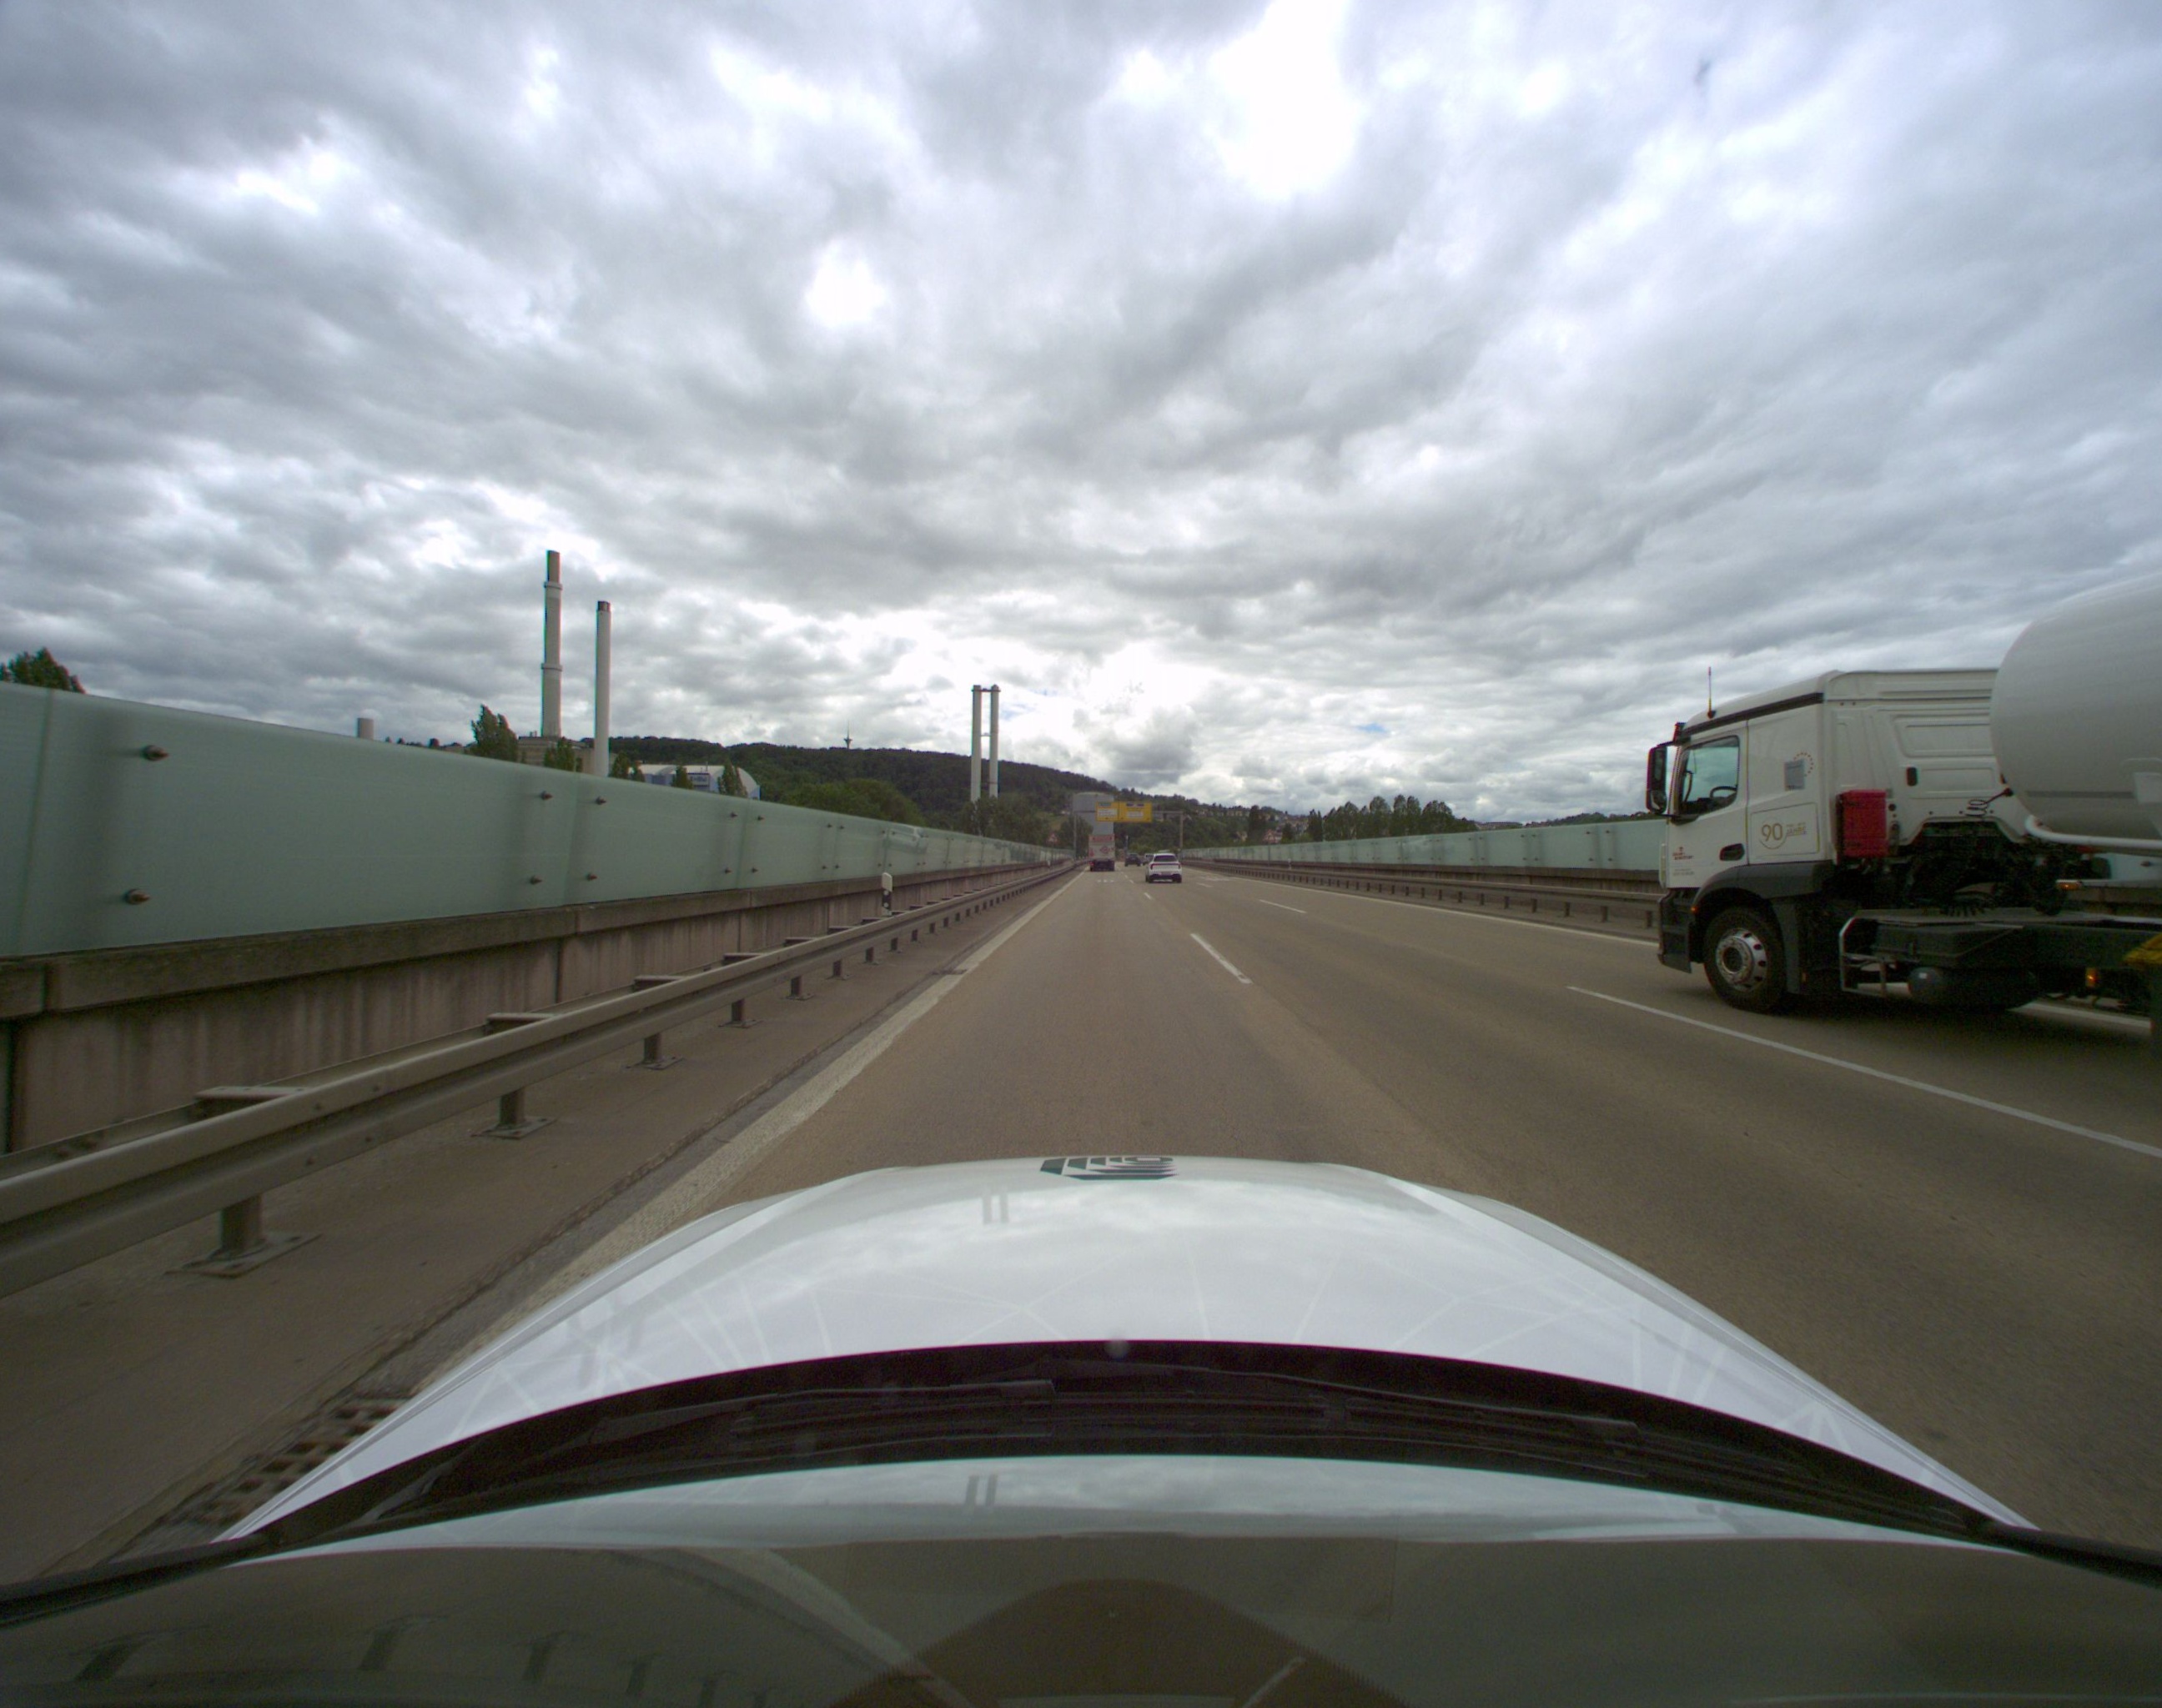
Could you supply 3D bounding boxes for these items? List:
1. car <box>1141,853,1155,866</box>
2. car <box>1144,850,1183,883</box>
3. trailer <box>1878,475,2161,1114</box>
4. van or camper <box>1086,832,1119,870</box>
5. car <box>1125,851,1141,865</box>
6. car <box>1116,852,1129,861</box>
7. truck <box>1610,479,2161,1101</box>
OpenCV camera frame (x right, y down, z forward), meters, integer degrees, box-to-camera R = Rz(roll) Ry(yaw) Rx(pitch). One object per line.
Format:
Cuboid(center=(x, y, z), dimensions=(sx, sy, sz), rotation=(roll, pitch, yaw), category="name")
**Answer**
Cuboid(center=(9.589, 0.795, 116.718), dimensions=(1.916, 1.785, 4.115), rotation=(0, 0, 2), category="car")
Cuboid(center=(4.688, 0.681, 46.669), dimensions=(1.916, 1.785, 4.115), rotation=(0, 0, 2), category="car")
Cuboid(center=(7.187, -0.358, 0.517), dimensions=(2.640, 3.543, 11.224), rotation=(-1, 0, 2), category="trailer")
Cuboid(center=(2.229, -0.239, 80.940), dimensions=(3.109, 3.579, 8.555), rotation=(-1, 0, 3), category="van or camper")
Cuboid(center=(6.558, 0.470, 103.812), dimensions=(1.916, 1.785, 4.115), rotation=(0, 0, 2), category="car")
Cuboid(center=(10.077, 0.608, 197.302), dimensions=(2.457, 1.979, 5.175), rotation=(-1, 0, 11), category="car")
Cuboid(center=(7.437, -0.380, 7.027), dimensions=(2.621, 3.514, 4.906), rotation=(-1, 0, 2), category="truck")
